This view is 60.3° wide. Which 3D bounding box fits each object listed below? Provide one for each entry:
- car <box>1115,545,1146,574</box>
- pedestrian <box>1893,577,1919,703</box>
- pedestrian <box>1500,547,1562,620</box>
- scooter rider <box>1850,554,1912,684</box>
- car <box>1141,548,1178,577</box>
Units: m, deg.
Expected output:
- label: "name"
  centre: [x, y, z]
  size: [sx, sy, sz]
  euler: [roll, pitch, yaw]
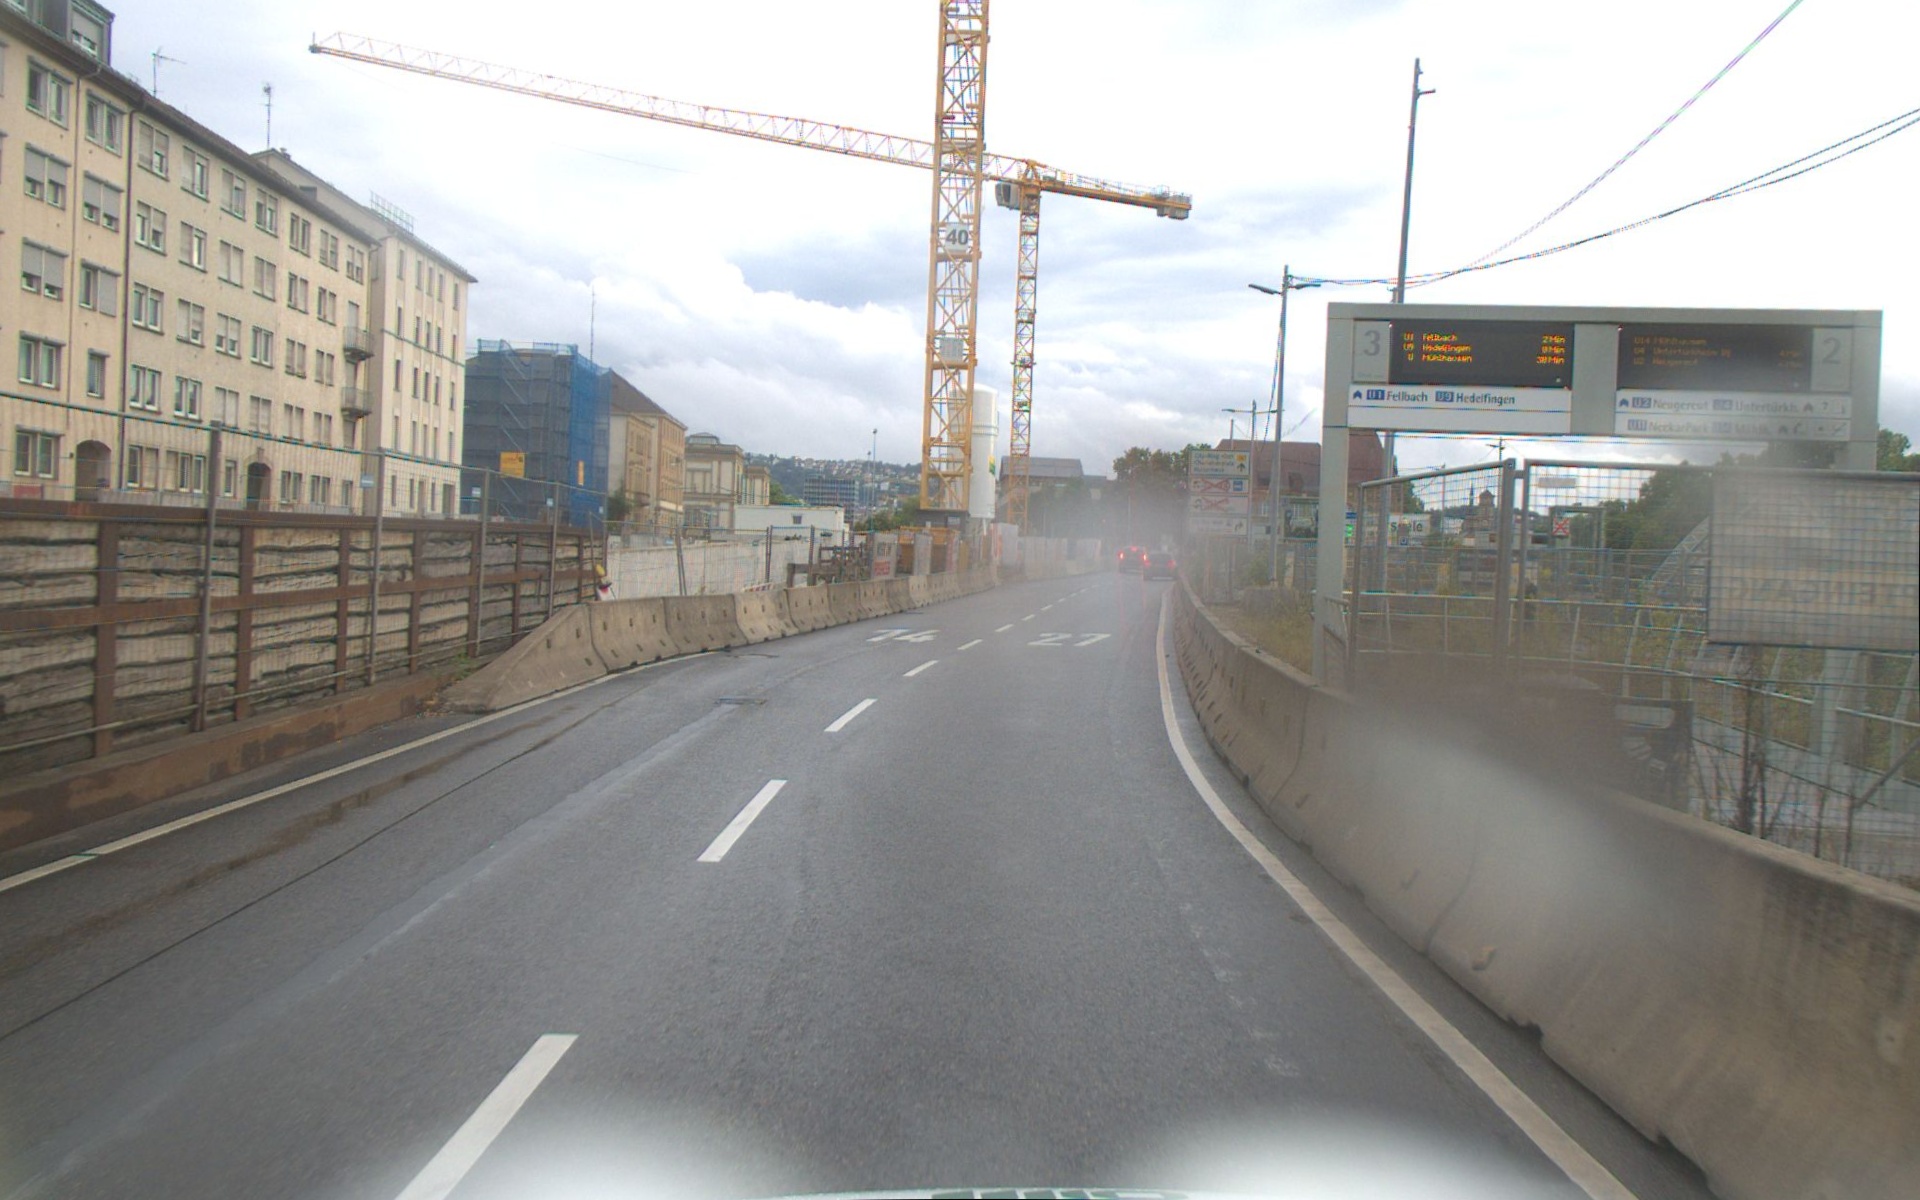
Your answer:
- label: "car"
  centre: [10.837, -2.589, 104.862]
  size: [1.823, 1.689, 4.660]
  euler: [3, 2, 7]
- label: "pedestrian"
  centre: [14.135, 0.578, 23.954]
  size: [0.675, 1.809, 1.023]
  euler: [1, 0, 3]
- label: "pedestrian"
  centre: [13.460, -0.396, 39.013]
  size: [1.005, 1.687, 0.893]
  euler: [1, 0, -22]
- label: "scooter rider"
  centre: [12.992, 0.254, 23.343]
  size: [0.510, 1.786, 0.700]
  euler: [1, 1, 9]
- label: "car"
  centre: [10.351, -1.910, 85.965]
  size: [1.823, 1.458, 4.660]
  euler: [0, 1, 6]
